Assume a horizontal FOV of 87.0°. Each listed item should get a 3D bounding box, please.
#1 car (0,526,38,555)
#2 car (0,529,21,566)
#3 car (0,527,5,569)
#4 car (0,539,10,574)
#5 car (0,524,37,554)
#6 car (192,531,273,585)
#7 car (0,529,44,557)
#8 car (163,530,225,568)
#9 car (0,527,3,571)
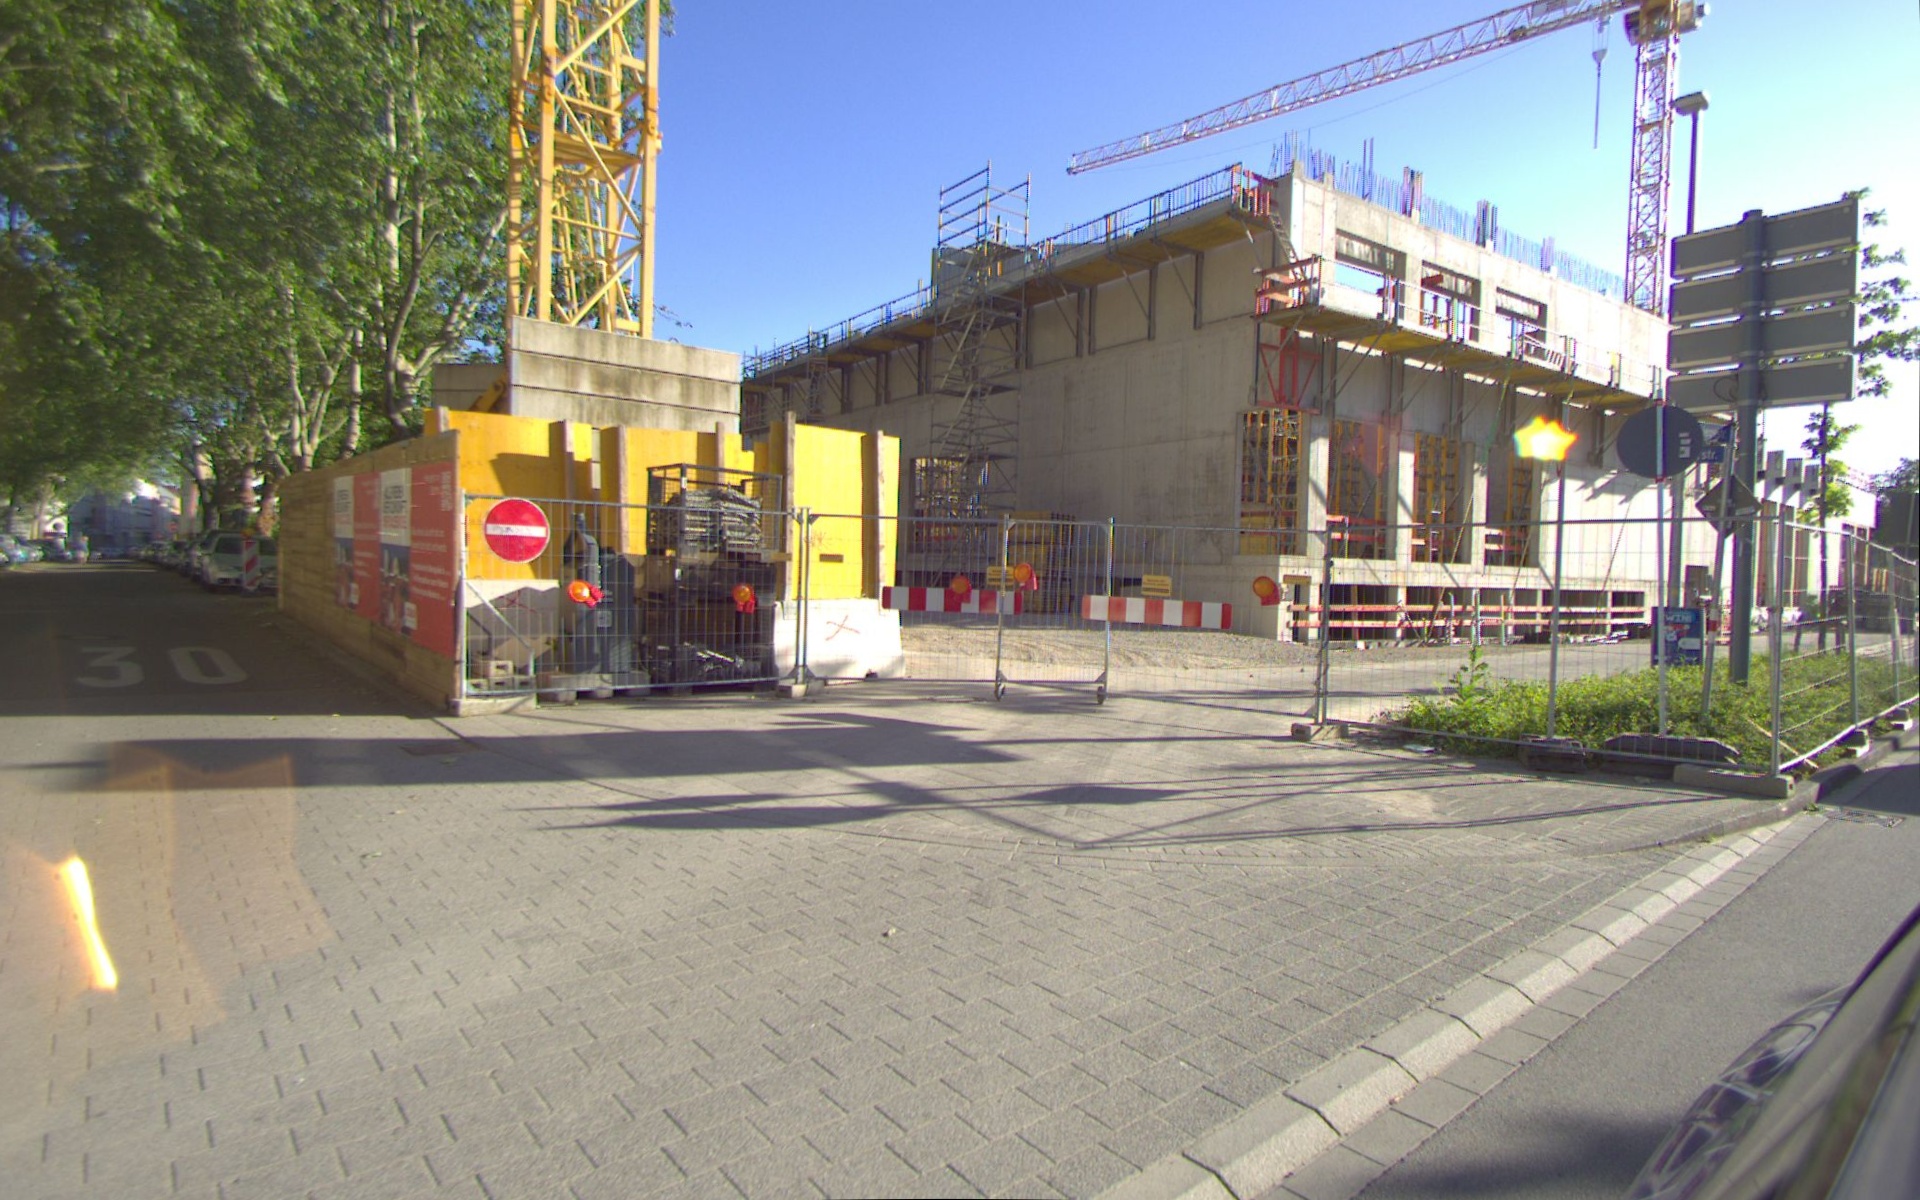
[{"bbox_3d":[-56.107,-3.466,58.347,4.290,1.602,1.870,0,3,-41],"label":"car"},{"bbox_3d":[-48.251,-2.604,48.760,4.290,1.782,1.870,0,3,-41],"label":"car"},{"bbox_3d":[-39.116,-2.048,38.242,4.290,1.602,1.870,0,3,-41],"label":"car"},{"bbox_3d":[-46.669,-2.075,46.521,4.290,1.602,1.870,0,3,-41],"label":"car"},{"bbox_3d":[-54.498,-3.460,56.511,4.290,1.602,1.870,0,3,-41],"label":"car"},{"bbox_3d":[-21.525,-1.200,29.879,1.697,1.445,3.996,1,1,-39],"label":"car"},{"bbox_3d":[-57.940,-3.474,60.722,4.290,1.602,1.870,0,3,-41],"label":"car"},{"bbox_3d":[-28.545,-1.852,37.675,1.697,1.284,3.996,1,1,-39],"label":"car"},{"bbox_3d":[-36.657,-1.864,35.562,4.290,1.602,1.870,0,3,-41],"label":"car"}]
